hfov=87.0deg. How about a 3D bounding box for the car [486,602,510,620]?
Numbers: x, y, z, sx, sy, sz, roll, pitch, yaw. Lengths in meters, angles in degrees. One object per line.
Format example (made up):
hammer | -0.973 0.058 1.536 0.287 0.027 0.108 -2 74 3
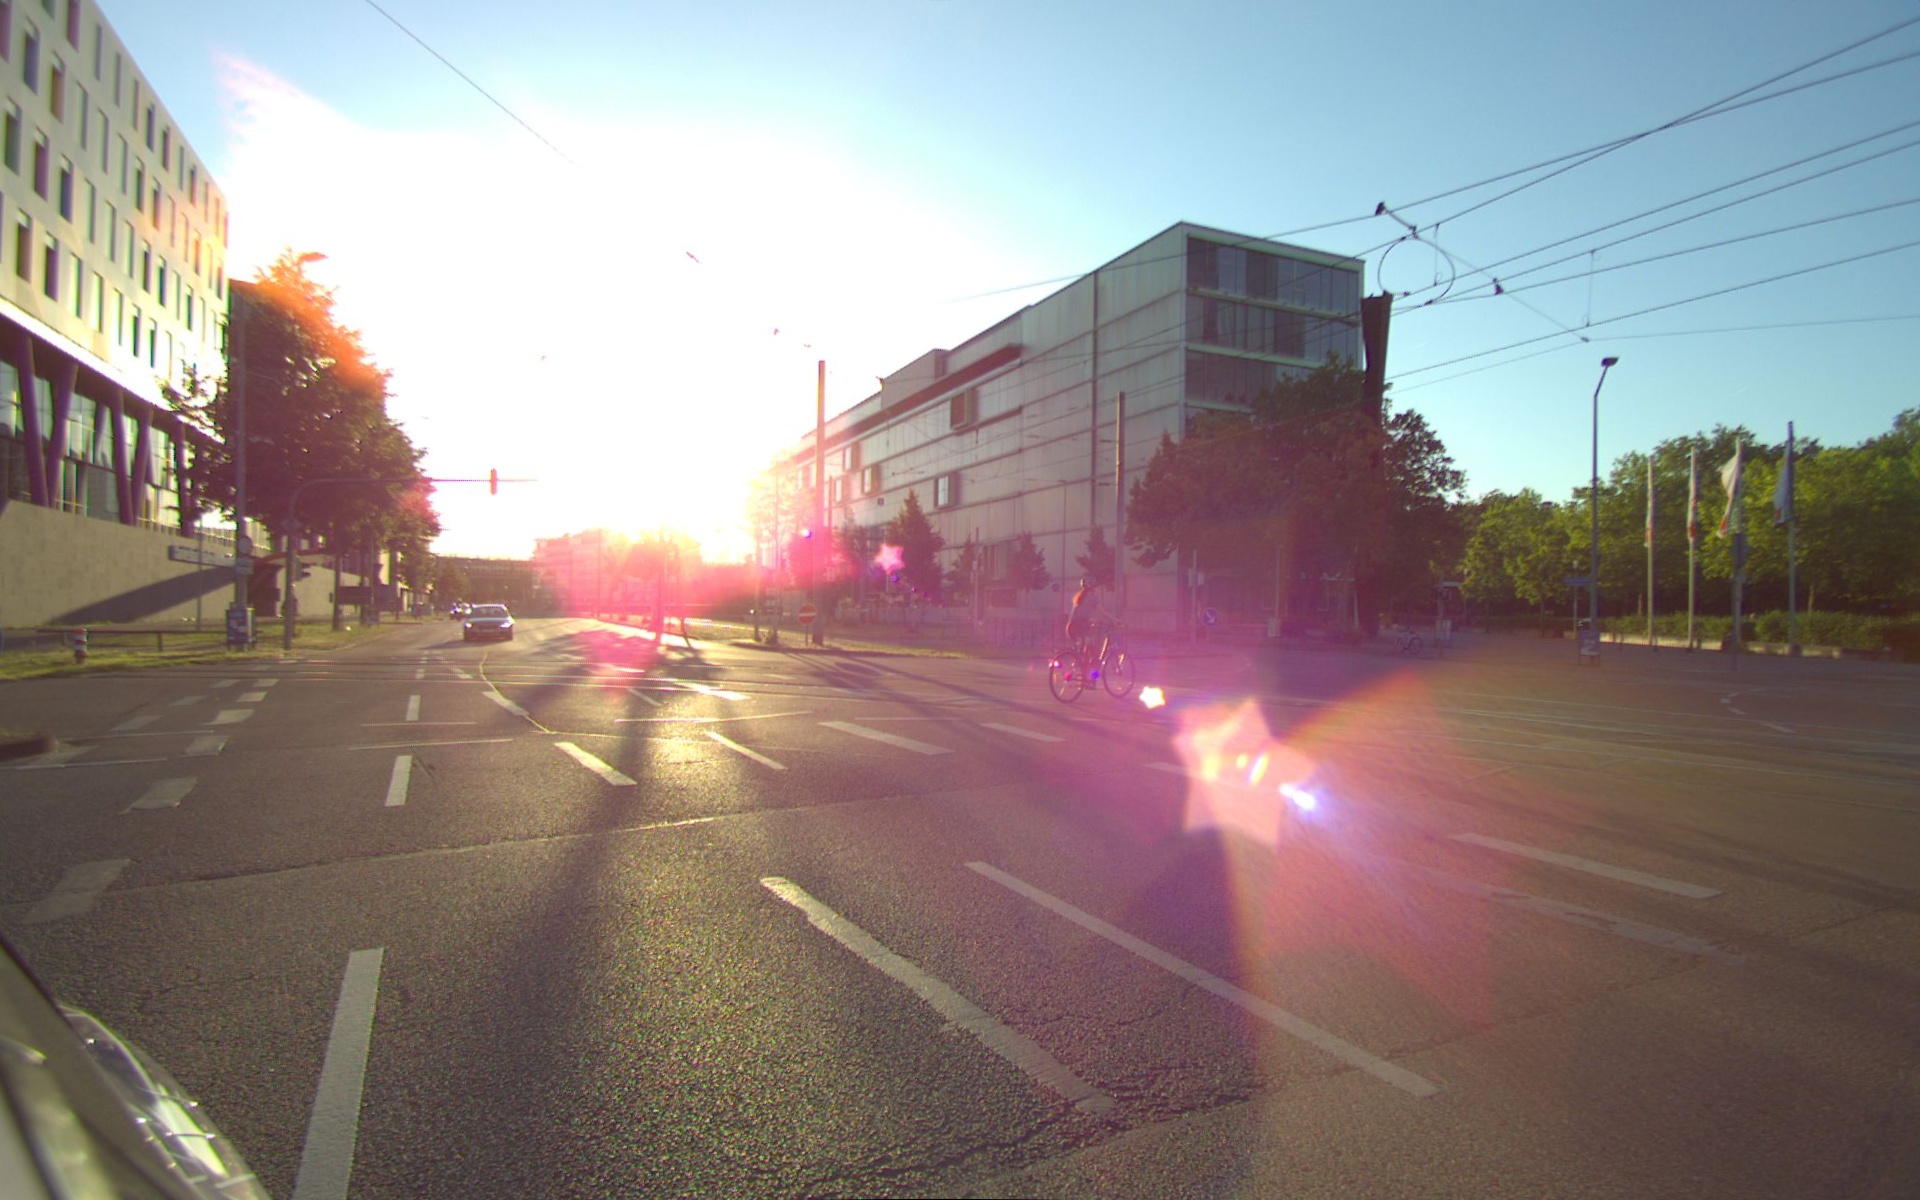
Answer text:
car | -45.223 1.086 98.985 1.965 1.719 4.013 1 -1 -26

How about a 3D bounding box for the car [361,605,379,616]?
car | -83.433 1.475 143.107 1.689 1.510 4.013 1 -1 -24

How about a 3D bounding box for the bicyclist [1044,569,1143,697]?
bicyclist | 1.881 0.452 14.359 0.978 1.731 1.038 1 -1 -23

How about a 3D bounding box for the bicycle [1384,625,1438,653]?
bicycle | 18.769 1.629 42.131 2.351 1.144 0.703 1 -1 -26

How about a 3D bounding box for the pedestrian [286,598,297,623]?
pedestrian | -55.676 0.850 84.277 0.608 2.029 0.815 2 -1 -24

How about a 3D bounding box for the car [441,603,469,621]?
car | -40.644 0.945 81.536 1.965 1.431 4.013 1 -1 -26

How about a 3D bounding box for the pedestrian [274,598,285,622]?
pedestrian | -56.370 0.824 83.844 0.608 2.029 0.815 2 -1 -24

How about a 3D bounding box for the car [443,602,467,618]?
car | -47.381 0.954 95.014 1.965 1.431 4.013 1 -1 -26

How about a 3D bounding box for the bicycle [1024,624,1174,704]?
bicycle | 1.990 0.891 14.423 2.085 1.076 0.638 1 -1 -23

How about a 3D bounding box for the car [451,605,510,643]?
car | -19.107 0.946 40.486 1.965 1.431 4.013 1 -1 -23
